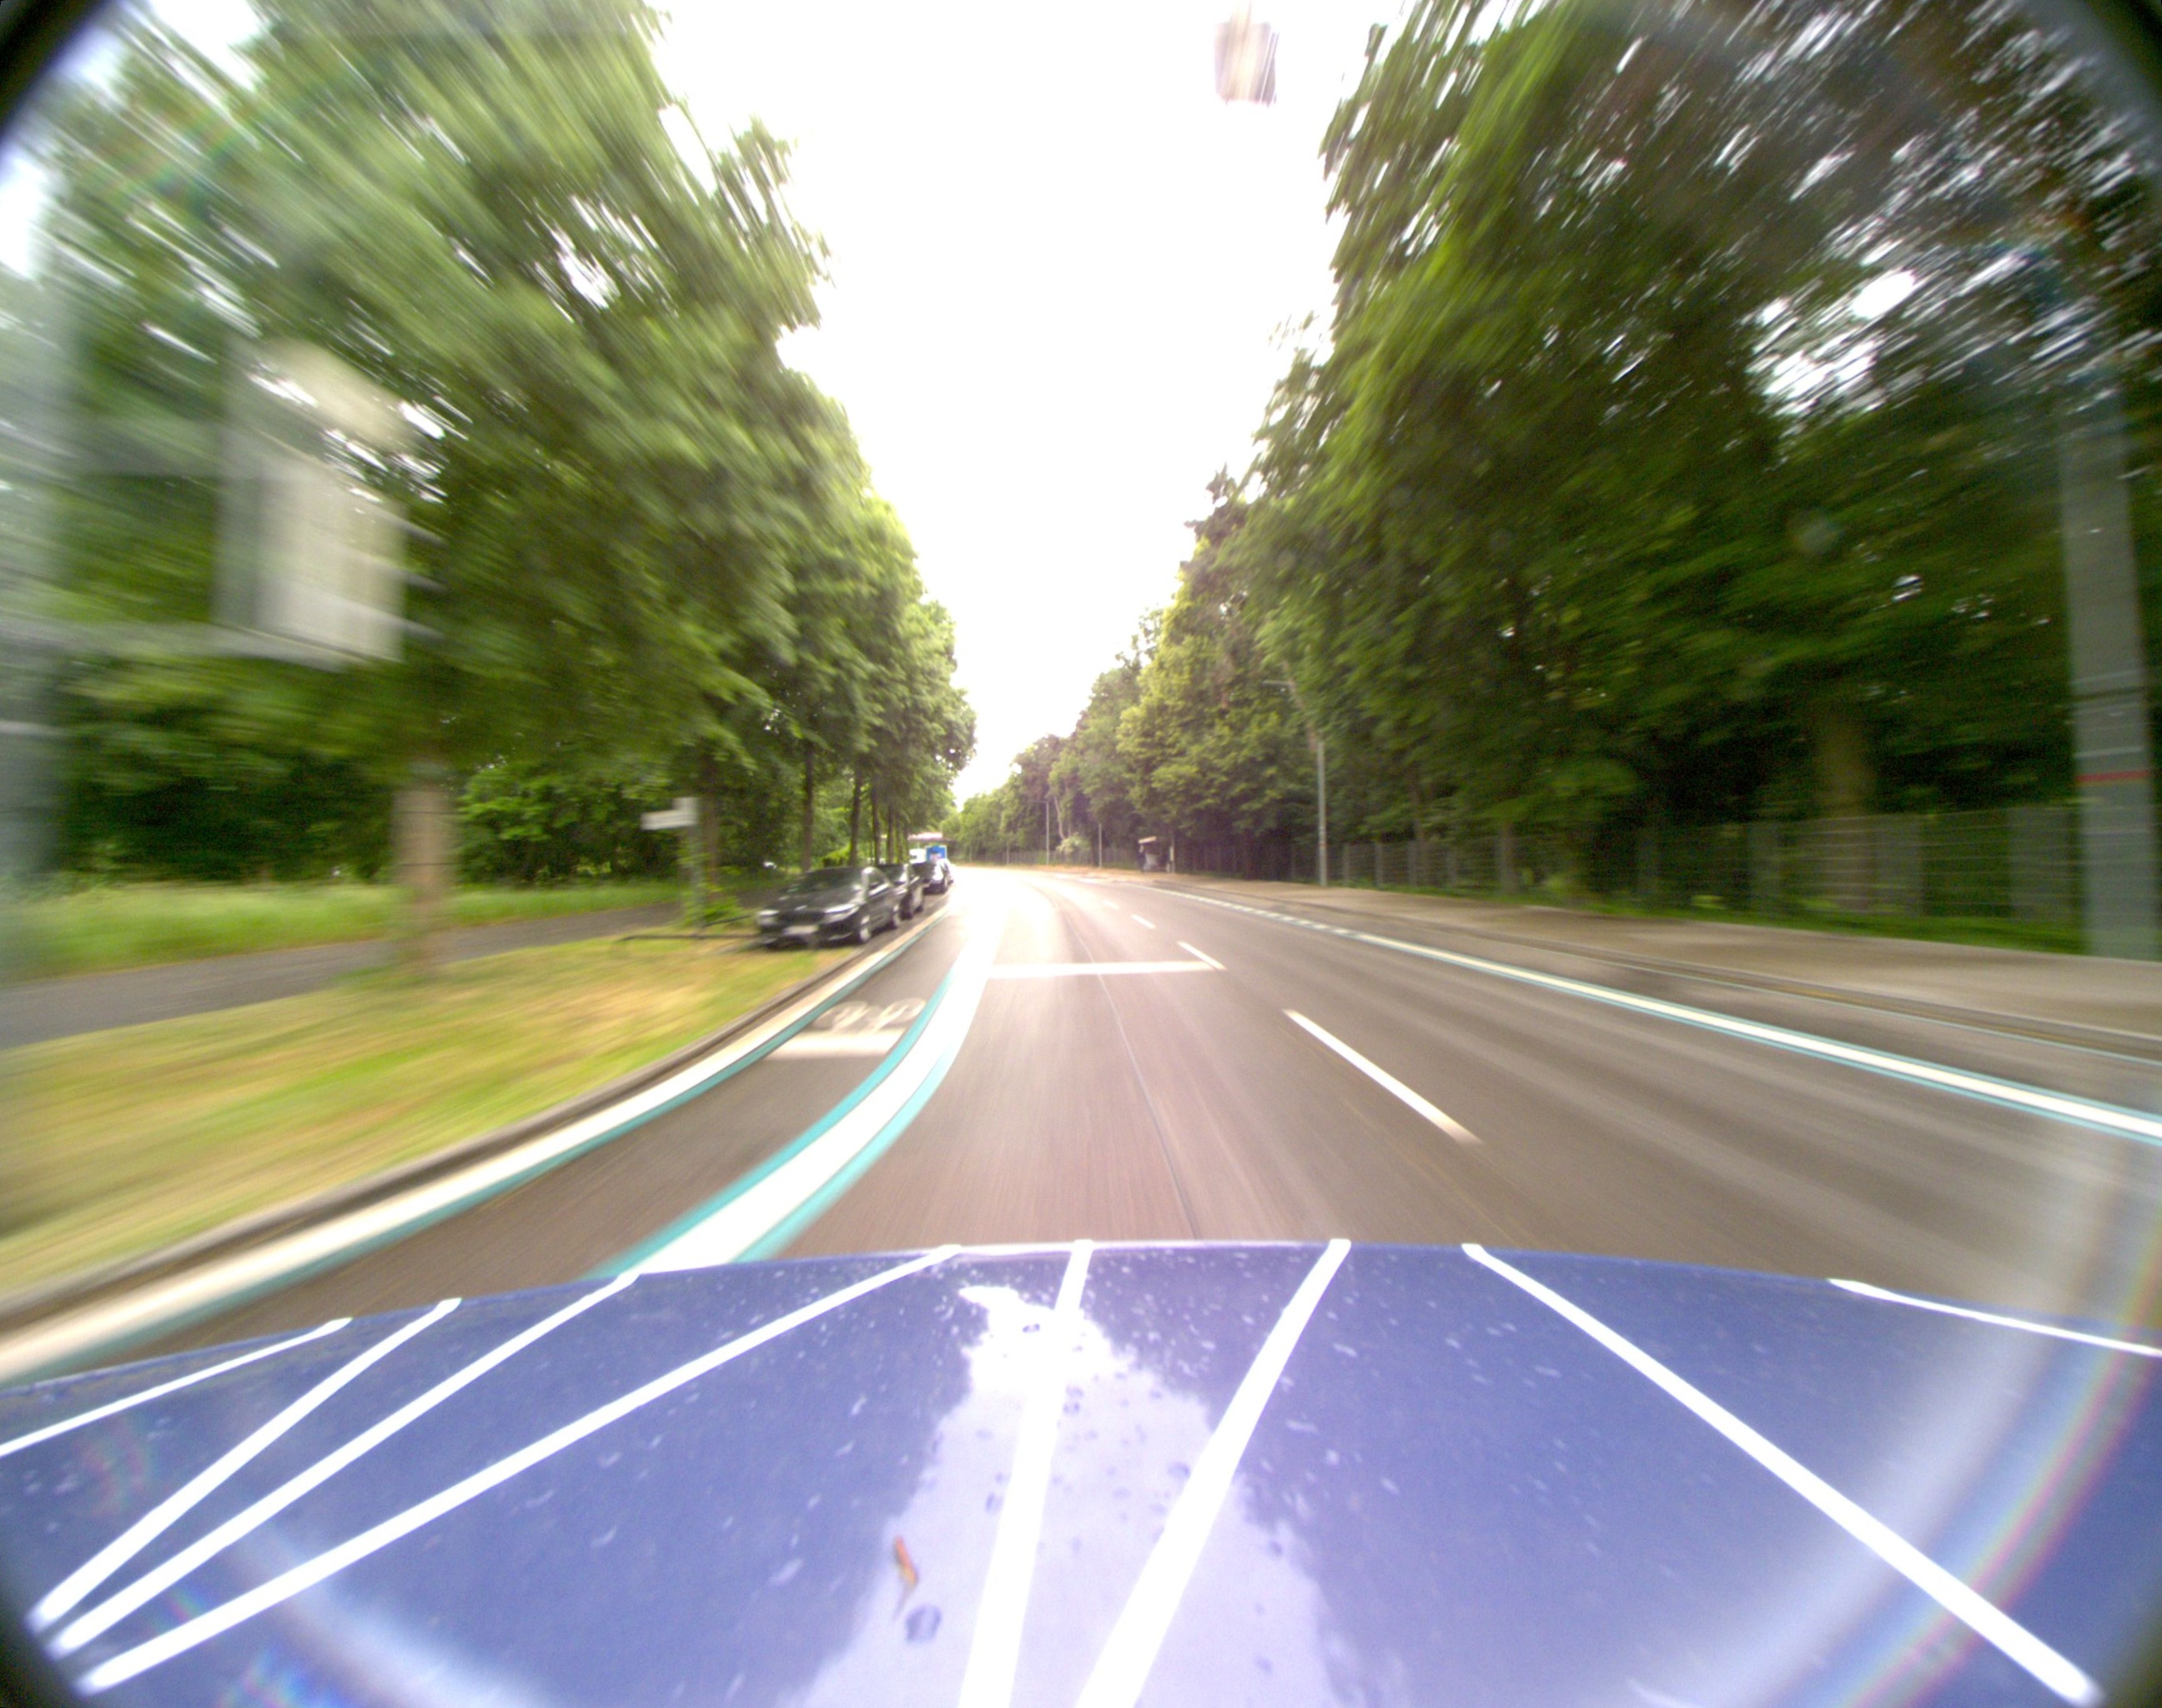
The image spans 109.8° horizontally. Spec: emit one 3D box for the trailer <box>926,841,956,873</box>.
[{"bbox_3d":[-12.429,0.247,67.200,2.324,2.656,5.369,-1,1,-14],"label":"trailer"}]

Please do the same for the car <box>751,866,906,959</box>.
[{"bbox_3d":[-4.909,1.046,15.538,1.762,1.431,4.855,-2,1,-4],"label":"car"}]

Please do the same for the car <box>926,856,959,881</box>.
[{"bbox_3d":[-8.732,0.879,48.155,1.866,1.420,4.645,-2,1,-8],"label":"car"}]

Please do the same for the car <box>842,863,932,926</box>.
[{"bbox_3d":[-5.328,1.041,21.426,1.704,1.412,4.760,-3,1,-6],"label":"car"}]

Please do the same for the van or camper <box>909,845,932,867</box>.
[{"bbox_3d":[-20.162,0.242,95.156,2.326,2.649,6.372,-1,0,-16],"label":"van or camper"}]

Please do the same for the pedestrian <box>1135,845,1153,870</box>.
[{"bbox_3d":[4.406,0.223,52.985,0.890,1.723,1.144,-2,1,-13],"label":"pedestrian"}]

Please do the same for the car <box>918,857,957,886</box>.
[{"bbox_3d":[-7.926,0.916,42.165,1.688,1.420,4.315,-2,1,-5],"label":"car"}]

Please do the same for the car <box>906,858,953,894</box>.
[{"bbox_3d":[-6.899,0.955,34.981,1.787,1.399,4.841,-2,1,-8],"label":"car"}]
